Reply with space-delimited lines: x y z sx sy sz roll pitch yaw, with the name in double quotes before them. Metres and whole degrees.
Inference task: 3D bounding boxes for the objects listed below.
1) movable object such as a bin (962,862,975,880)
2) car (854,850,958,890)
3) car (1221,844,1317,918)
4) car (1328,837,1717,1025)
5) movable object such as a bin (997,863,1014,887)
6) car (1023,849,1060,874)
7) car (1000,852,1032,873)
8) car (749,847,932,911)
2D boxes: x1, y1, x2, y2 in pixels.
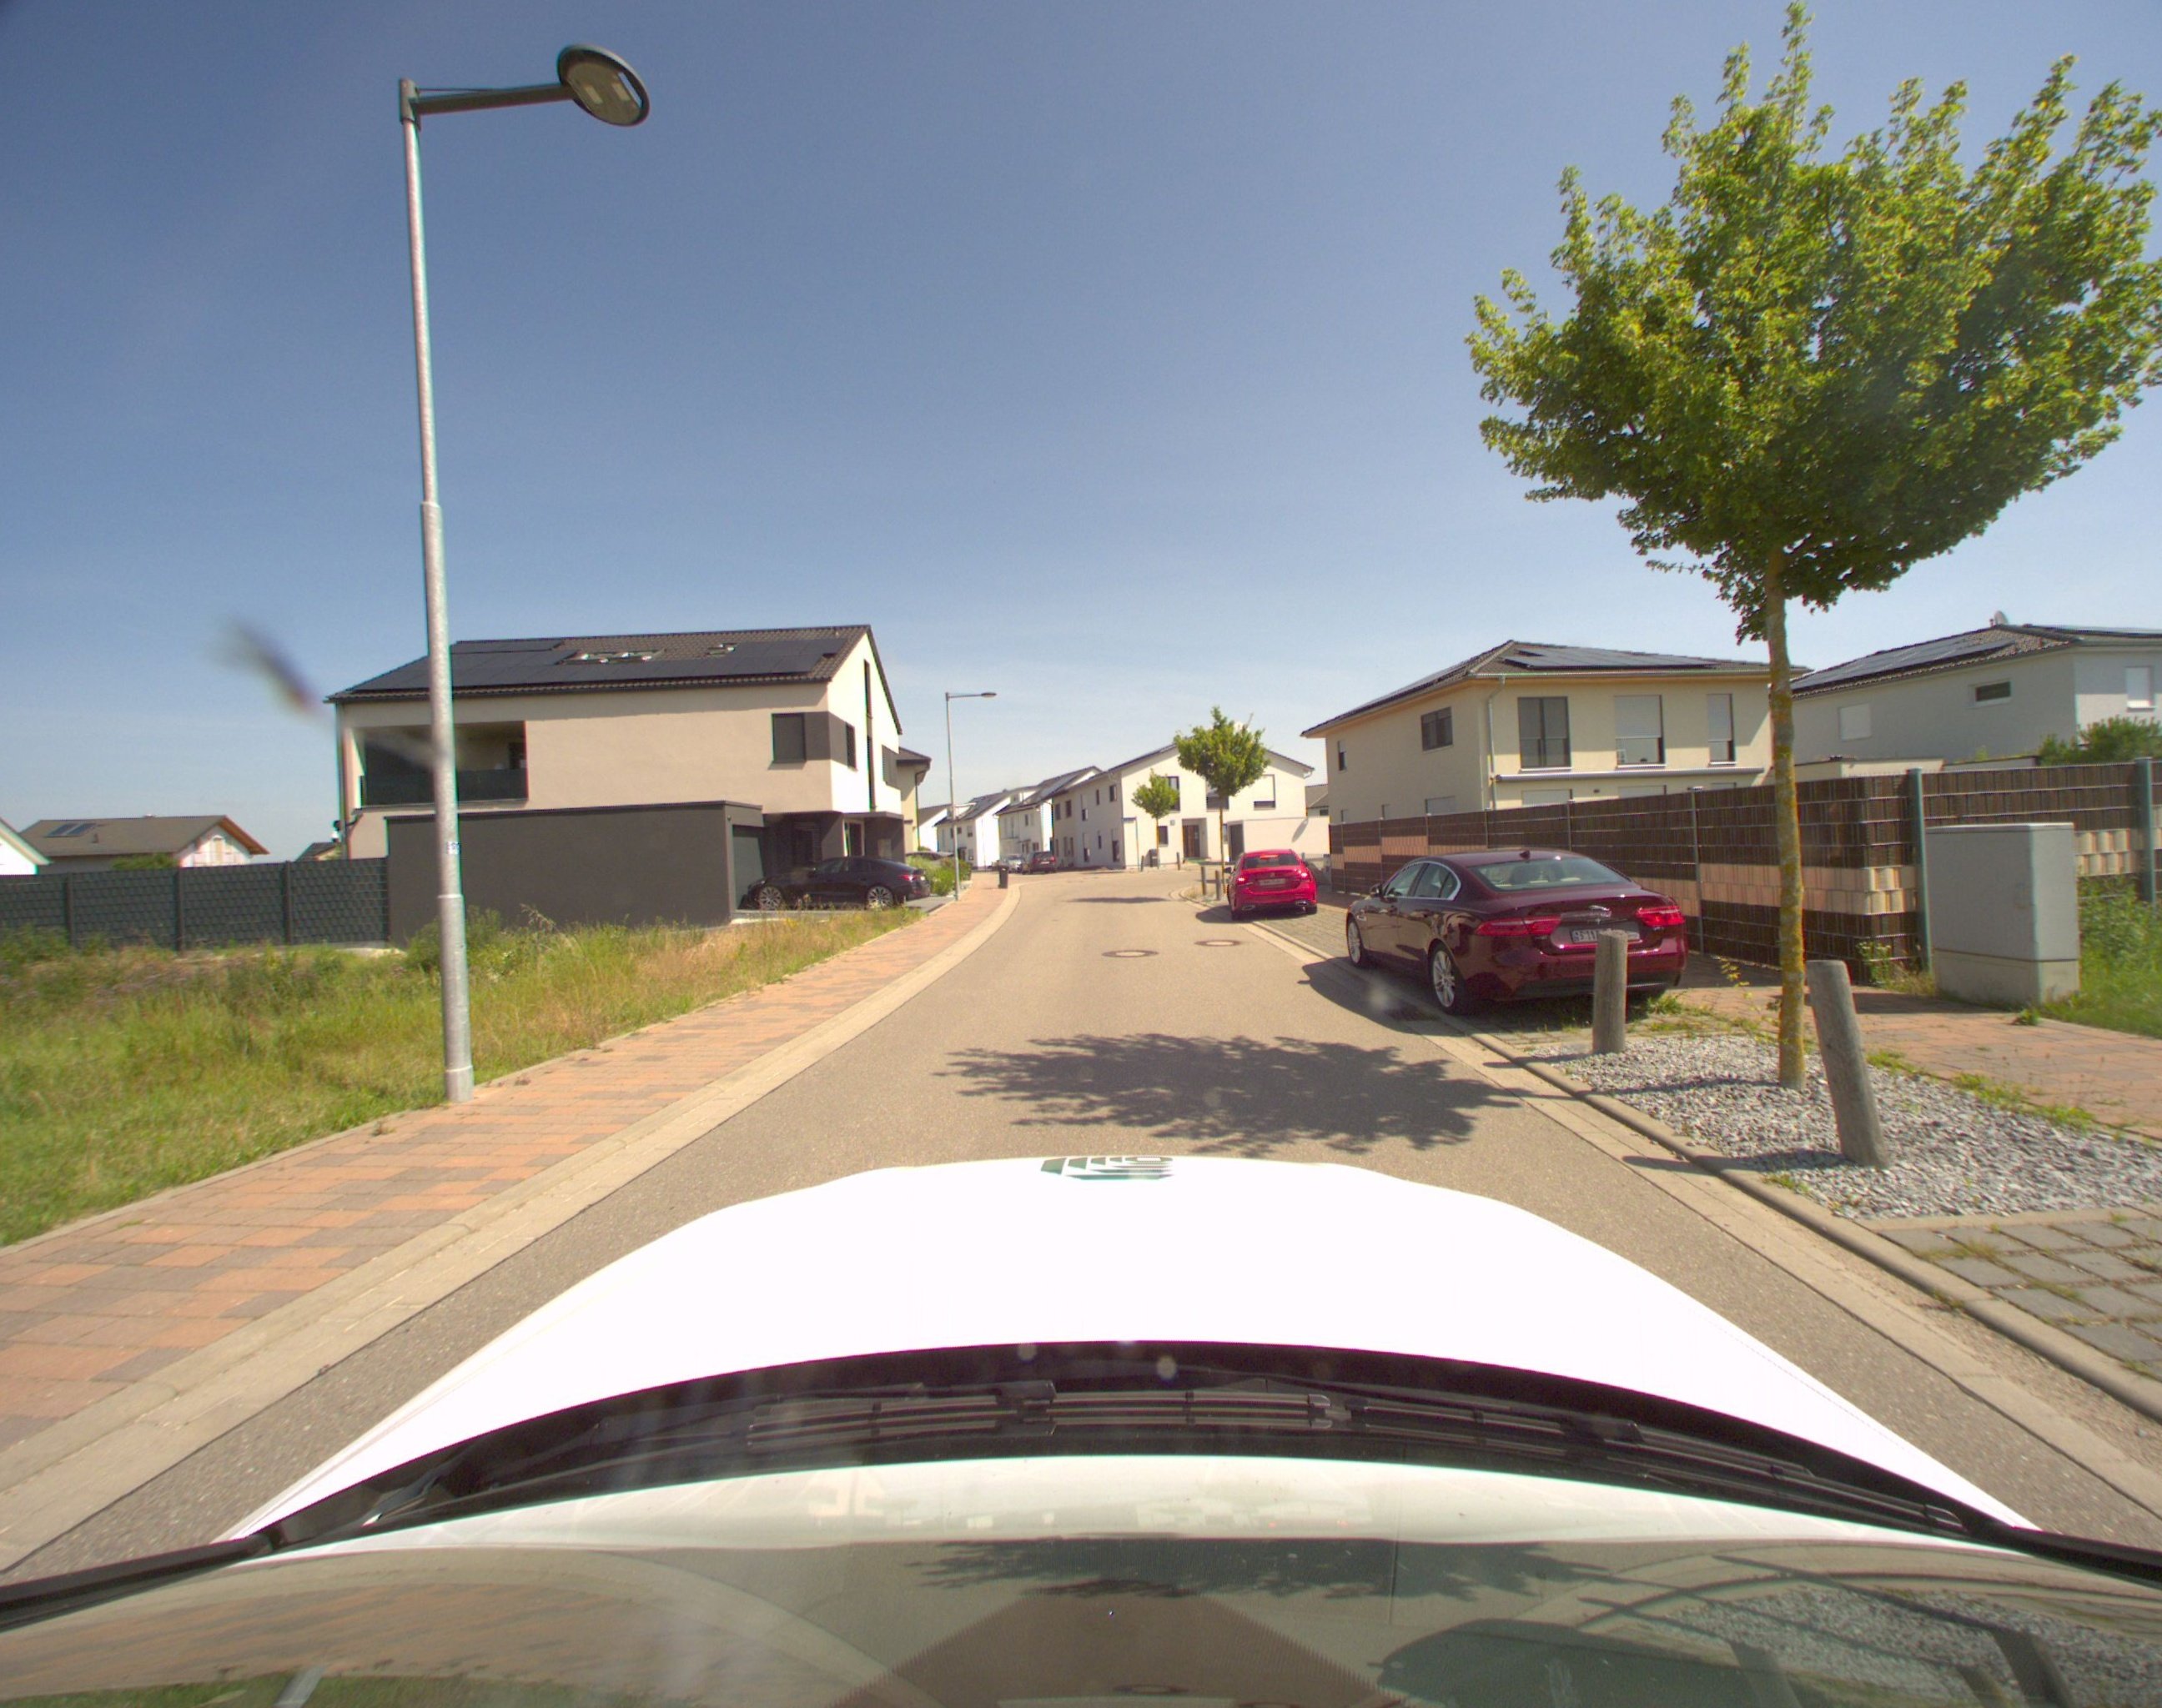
"movable object such as a bin" -5.606 0.847 40.563 0.615 0.927 0.421 0 -1 -11
"car" -7.420 0.668 34.812 3.973 1.486 1.755 -2 0 1
"car" 4.162 0.528 18.628 1.752 1.438 4.530 -2 0 8
"car" 4.104 0.582 8.589 1.747 1.363 4.579 -3 0 3
"movable object such as a bin" -2.968 0.837 32.168 0.531 0.936 0.527 -1 0 8
"car" -2.552 0.496 51.914 1.728 1.422 3.984 -3 0 -12
"car" -4.936 0.645 61.513 1.680 1.464 3.925 -3 0 -14
"car" -6.330 0.628 21.803 4.362 1.631 1.770 0 0 -1
